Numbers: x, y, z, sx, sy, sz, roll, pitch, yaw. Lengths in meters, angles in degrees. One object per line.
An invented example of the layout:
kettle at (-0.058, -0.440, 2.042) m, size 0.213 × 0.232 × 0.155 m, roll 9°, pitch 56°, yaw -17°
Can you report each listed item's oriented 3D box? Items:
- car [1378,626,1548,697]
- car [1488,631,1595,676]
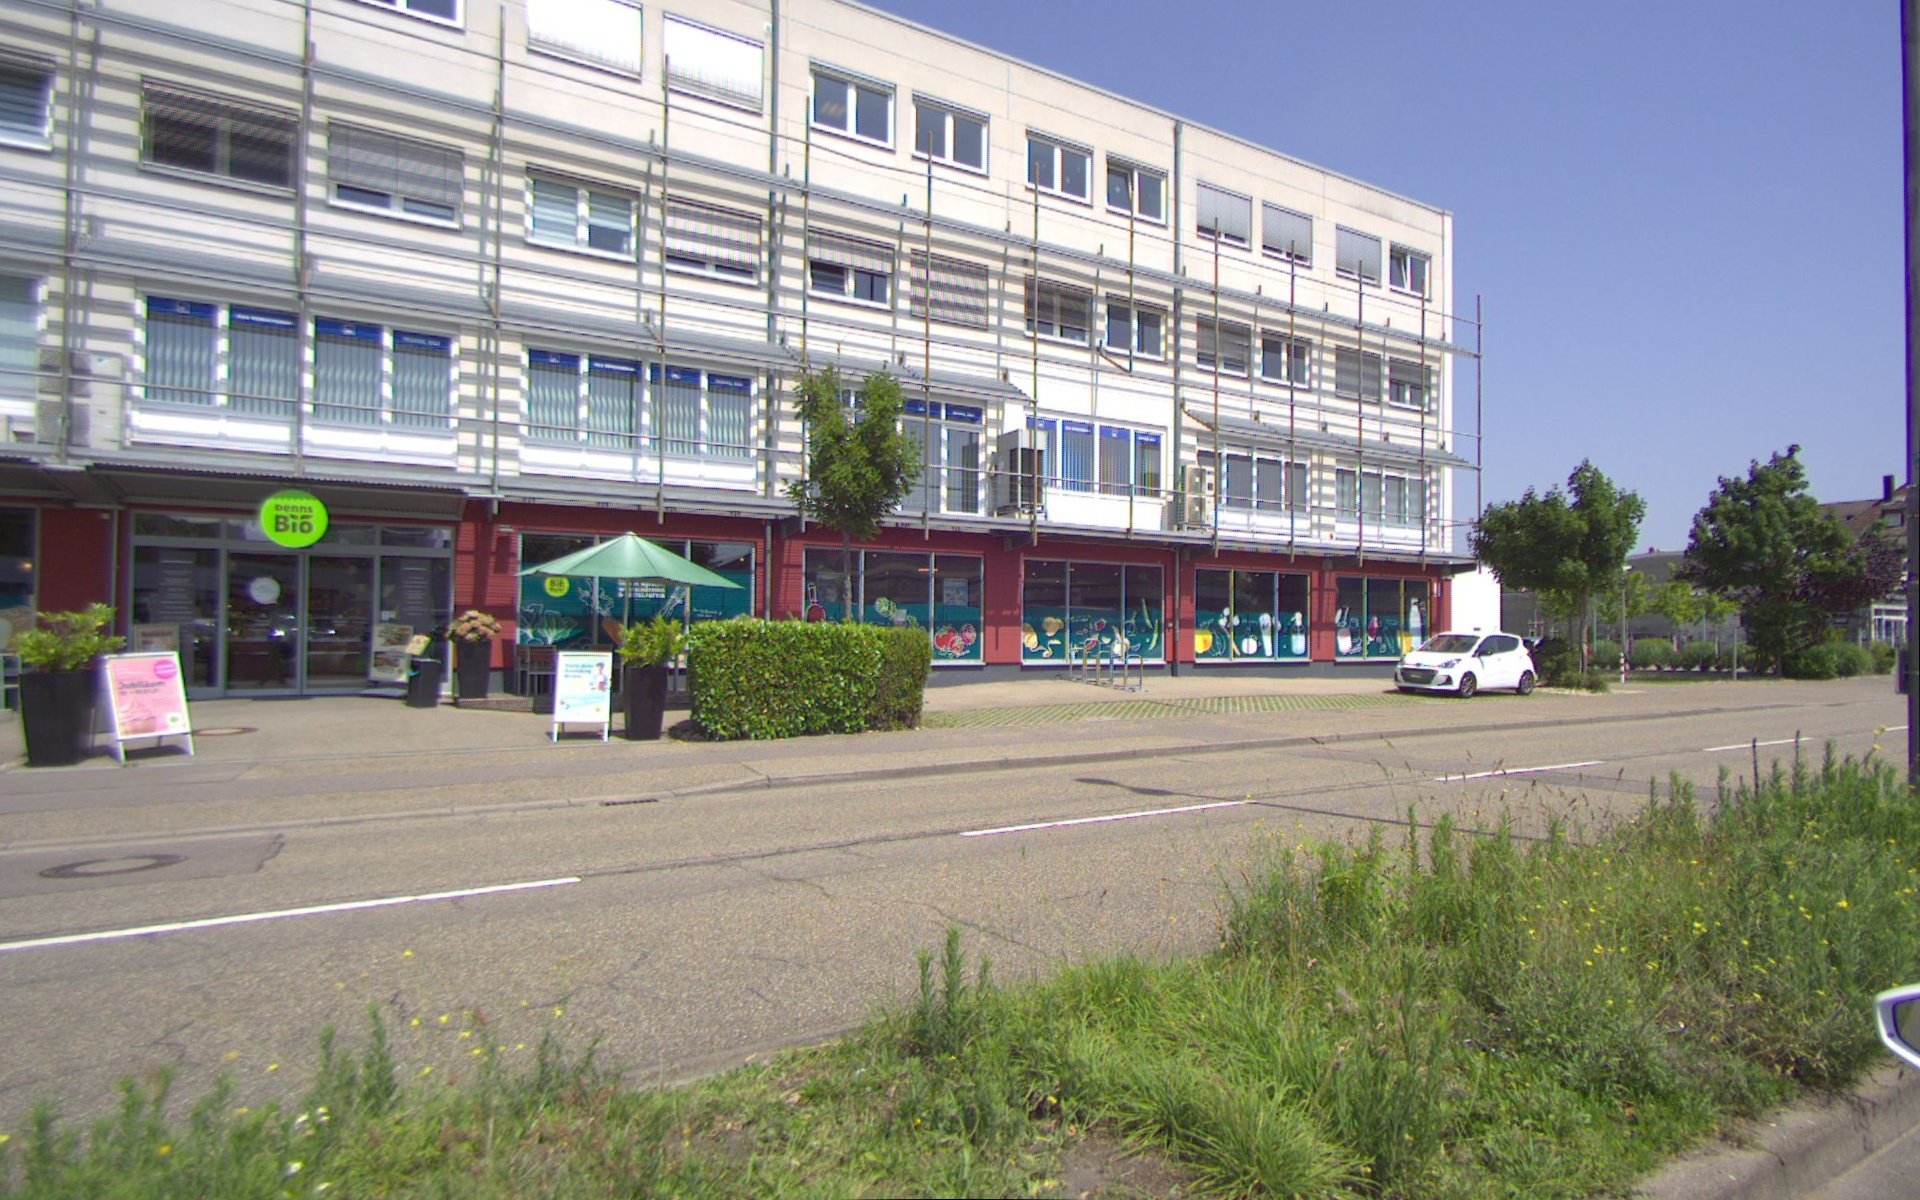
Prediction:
car at (11.962, 1.407, 23.825) m, size 3.994 × 1.514 × 1.671 m, roll 1°, pitch -1°, yaw -30°
car at (22.064, 2.024, 38.085) m, size 3.953 × 1.567 × 1.761 m, roll 3°, pitch -3°, yaw -30°
